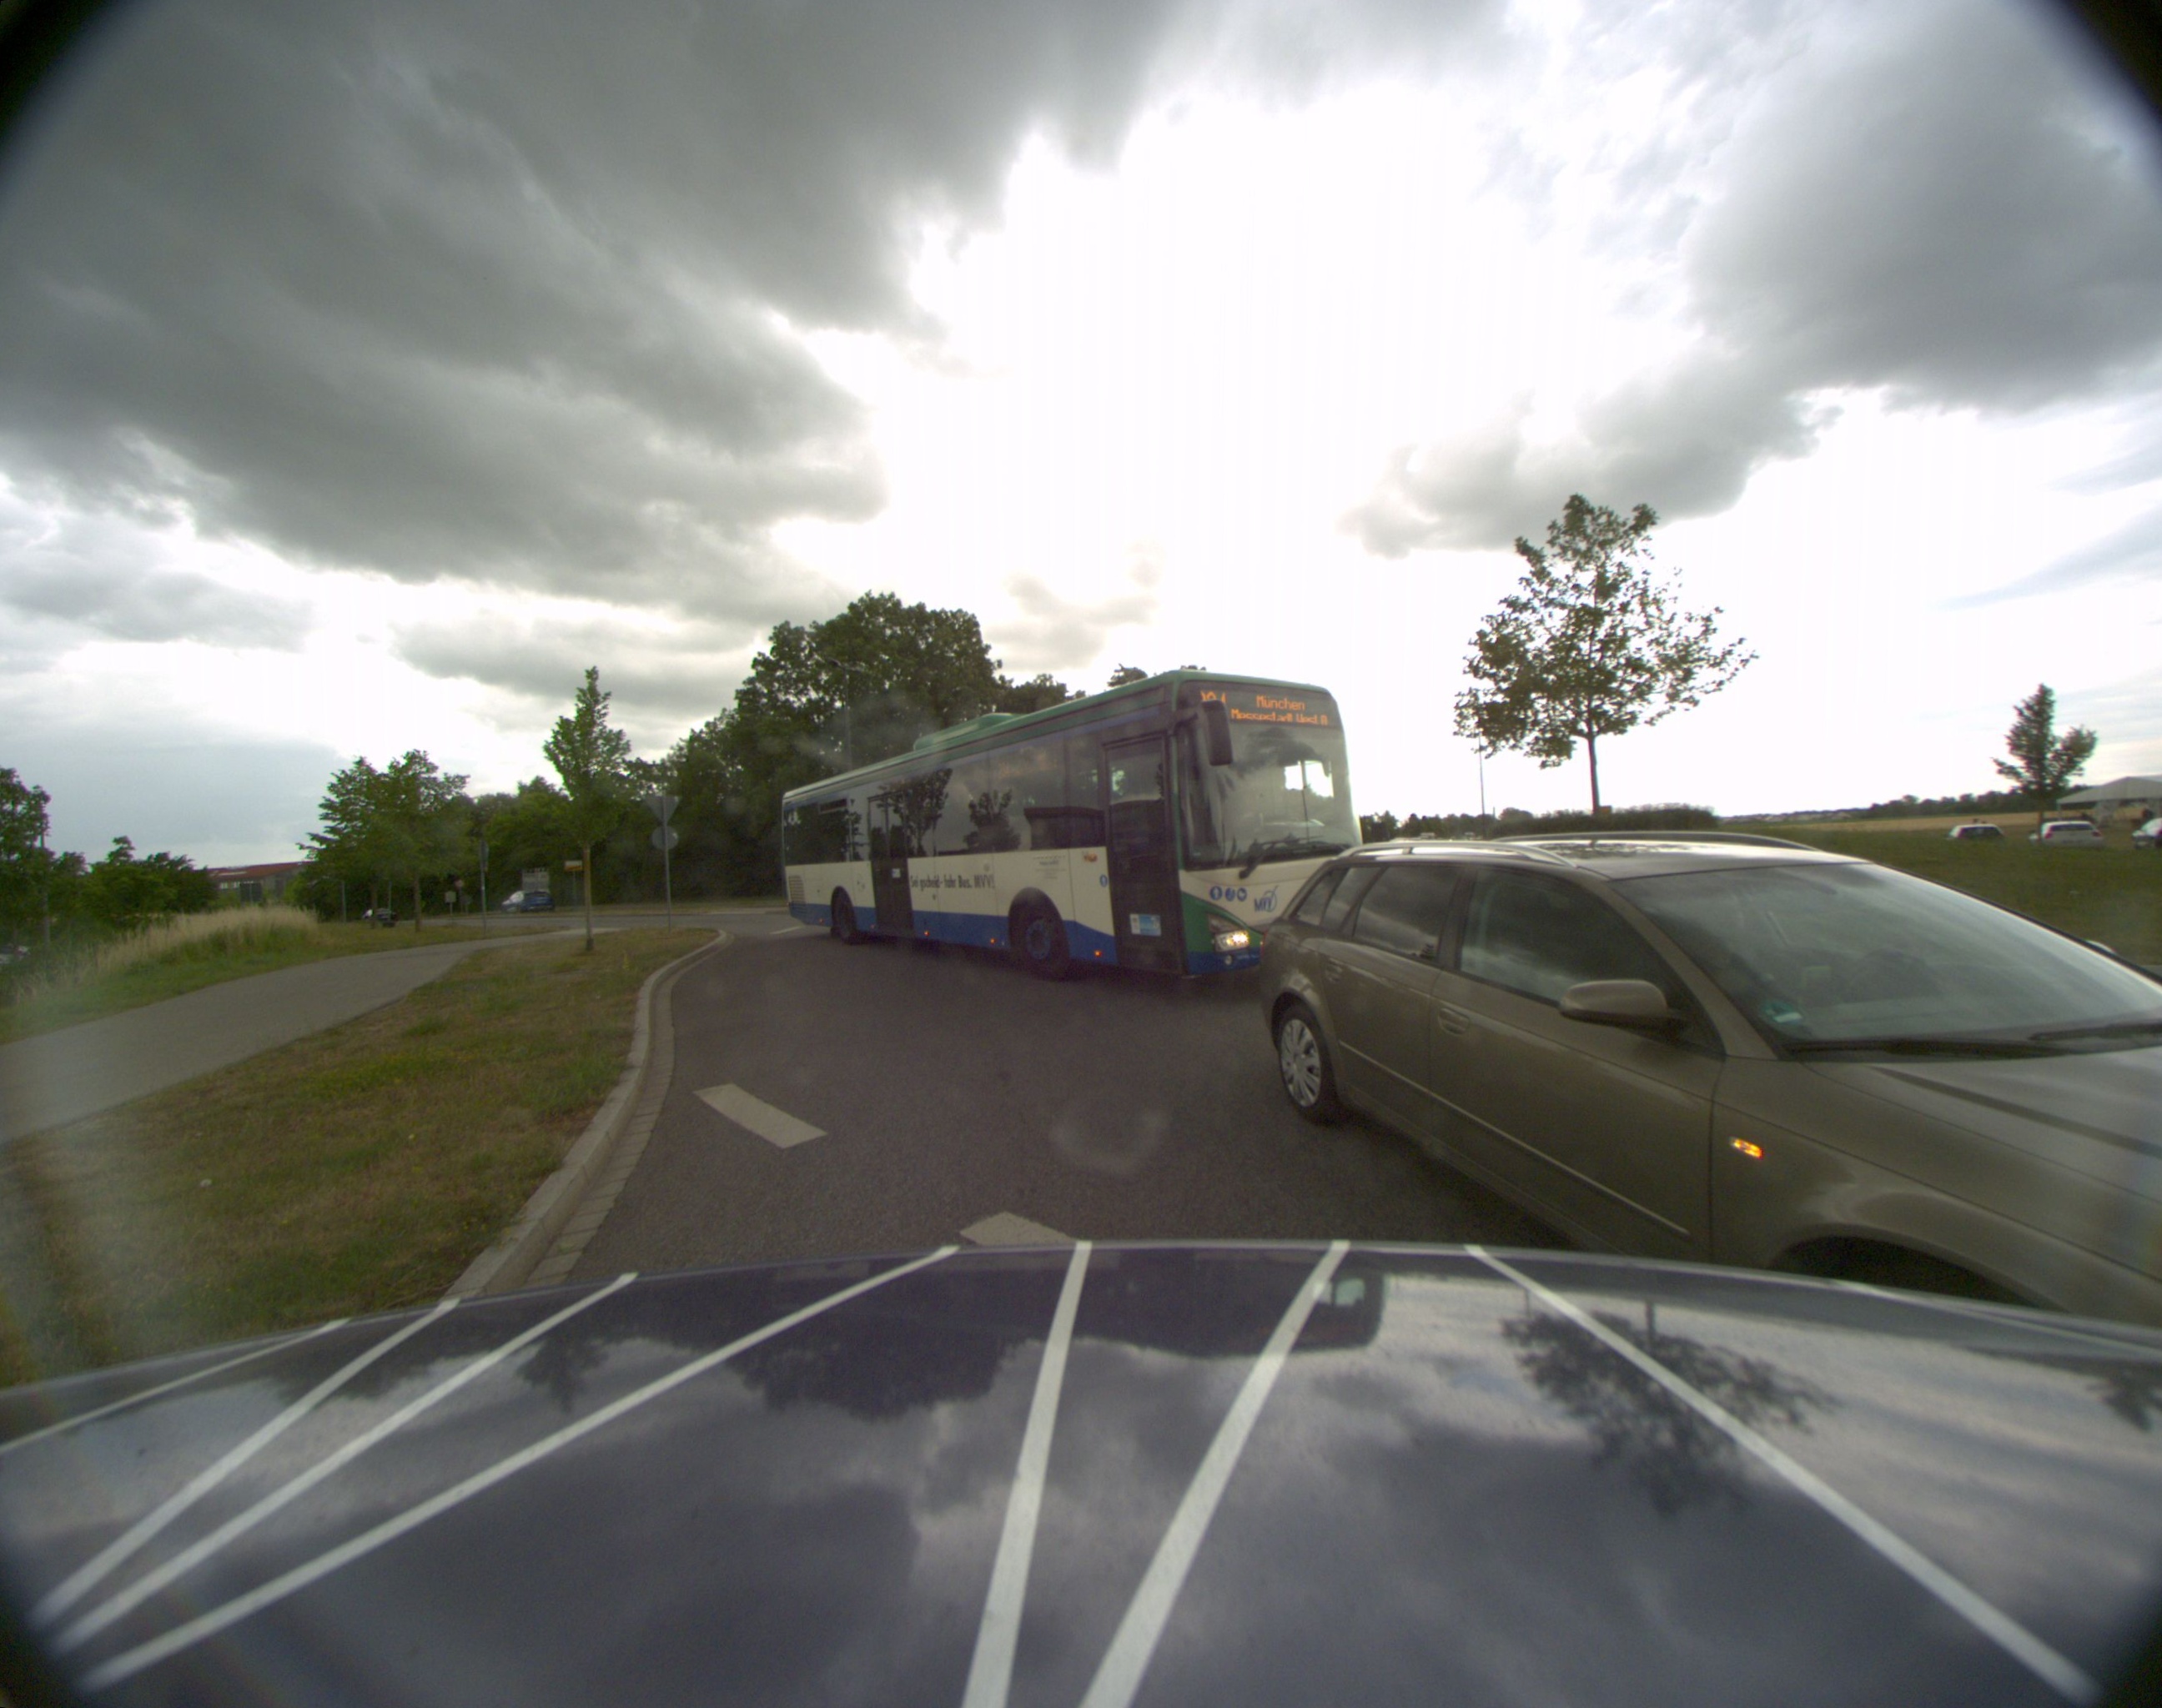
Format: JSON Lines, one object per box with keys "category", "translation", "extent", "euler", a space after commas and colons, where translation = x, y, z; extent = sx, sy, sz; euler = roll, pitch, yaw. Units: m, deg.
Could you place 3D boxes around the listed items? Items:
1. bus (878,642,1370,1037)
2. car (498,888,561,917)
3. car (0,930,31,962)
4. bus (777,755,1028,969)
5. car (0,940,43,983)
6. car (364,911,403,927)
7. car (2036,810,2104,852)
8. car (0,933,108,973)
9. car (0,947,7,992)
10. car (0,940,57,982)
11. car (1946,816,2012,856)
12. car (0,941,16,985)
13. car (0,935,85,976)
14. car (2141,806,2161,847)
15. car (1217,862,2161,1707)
{"category": "bus", "translation": [-0.049, -0.137, 9.603], "extent": [2.529, 3.239, 6.531], "euler": [-3, 1, -37]}
{"category": "car", "translation": [-33.824, 2.974, 46.575], "extent": [4.072, 1.422, 1.766], "euler": [-6, 0, 35]}
{"category": "car", "translation": [-53.256, 4.544, 35.979], "extent": [1.879, 1.435, 4.007], "euler": [-3, 0, 34]}
{"category": "bus", "translation": [-3.614, 0.091, 14.423], "extent": [2.529, 3.239, 5.446], "euler": [-3, 2, -37]}
{"category": "car", "translation": [-41.881, 4.181, 28.040], "extent": [3.896, 1.455, 1.693], "euler": [-3, 0, -42]}
{"category": "car", "translation": [-63.610, 5.881, 69.276], "extent": [4.104, 1.299, 1.834], "euler": [-3, -1, 36]}
{"category": "car", "translation": [45.228, -1.073, 34.734], "extent": [4.006, 1.544, 1.712], "euler": [-5, 0, -36]}
{"category": "car", "translation": [-49.365, 4.709, 35.897], "extent": [3.896, 1.455, 1.693], "euler": [-3, 0, -42]}
{"category": "car", "translation": [-36.968, 3.907, 23.556], "extent": [3.896, 1.455, 1.693], "euler": [-3, 0, -42]}
{"category": "car", "translation": [-44.190, 4.416, 30.164], "extent": [3.896, 1.455, 1.693], "euler": [-3, 0, -42]}
{"category": "car", "translation": [43.227, -0.870, 36.555], "extent": [4.006, 1.544, 1.712], "euler": [-5, 0, -36]}
{"category": "car", "translation": [-39.761, 3.962, 25.770], "extent": [3.896, 1.455, 1.693], "euler": [-3, 0, -42]}
{"category": "car", "translation": [-46.705, 4.492, 32.988], "extent": [3.896, 1.455, 1.693], "euler": [-3, 0, -42]}
{"category": "car", "translation": [47.108, -1.267, 32.649], "extent": [4.006, 1.544, 1.712], "euler": [-5, 0, -36]}
{"category": "car", "translation": [2.129, 0.799, 2.622], "extent": [1.783, 1.456, 4.537], "euler": [-2, 0, -10]}
